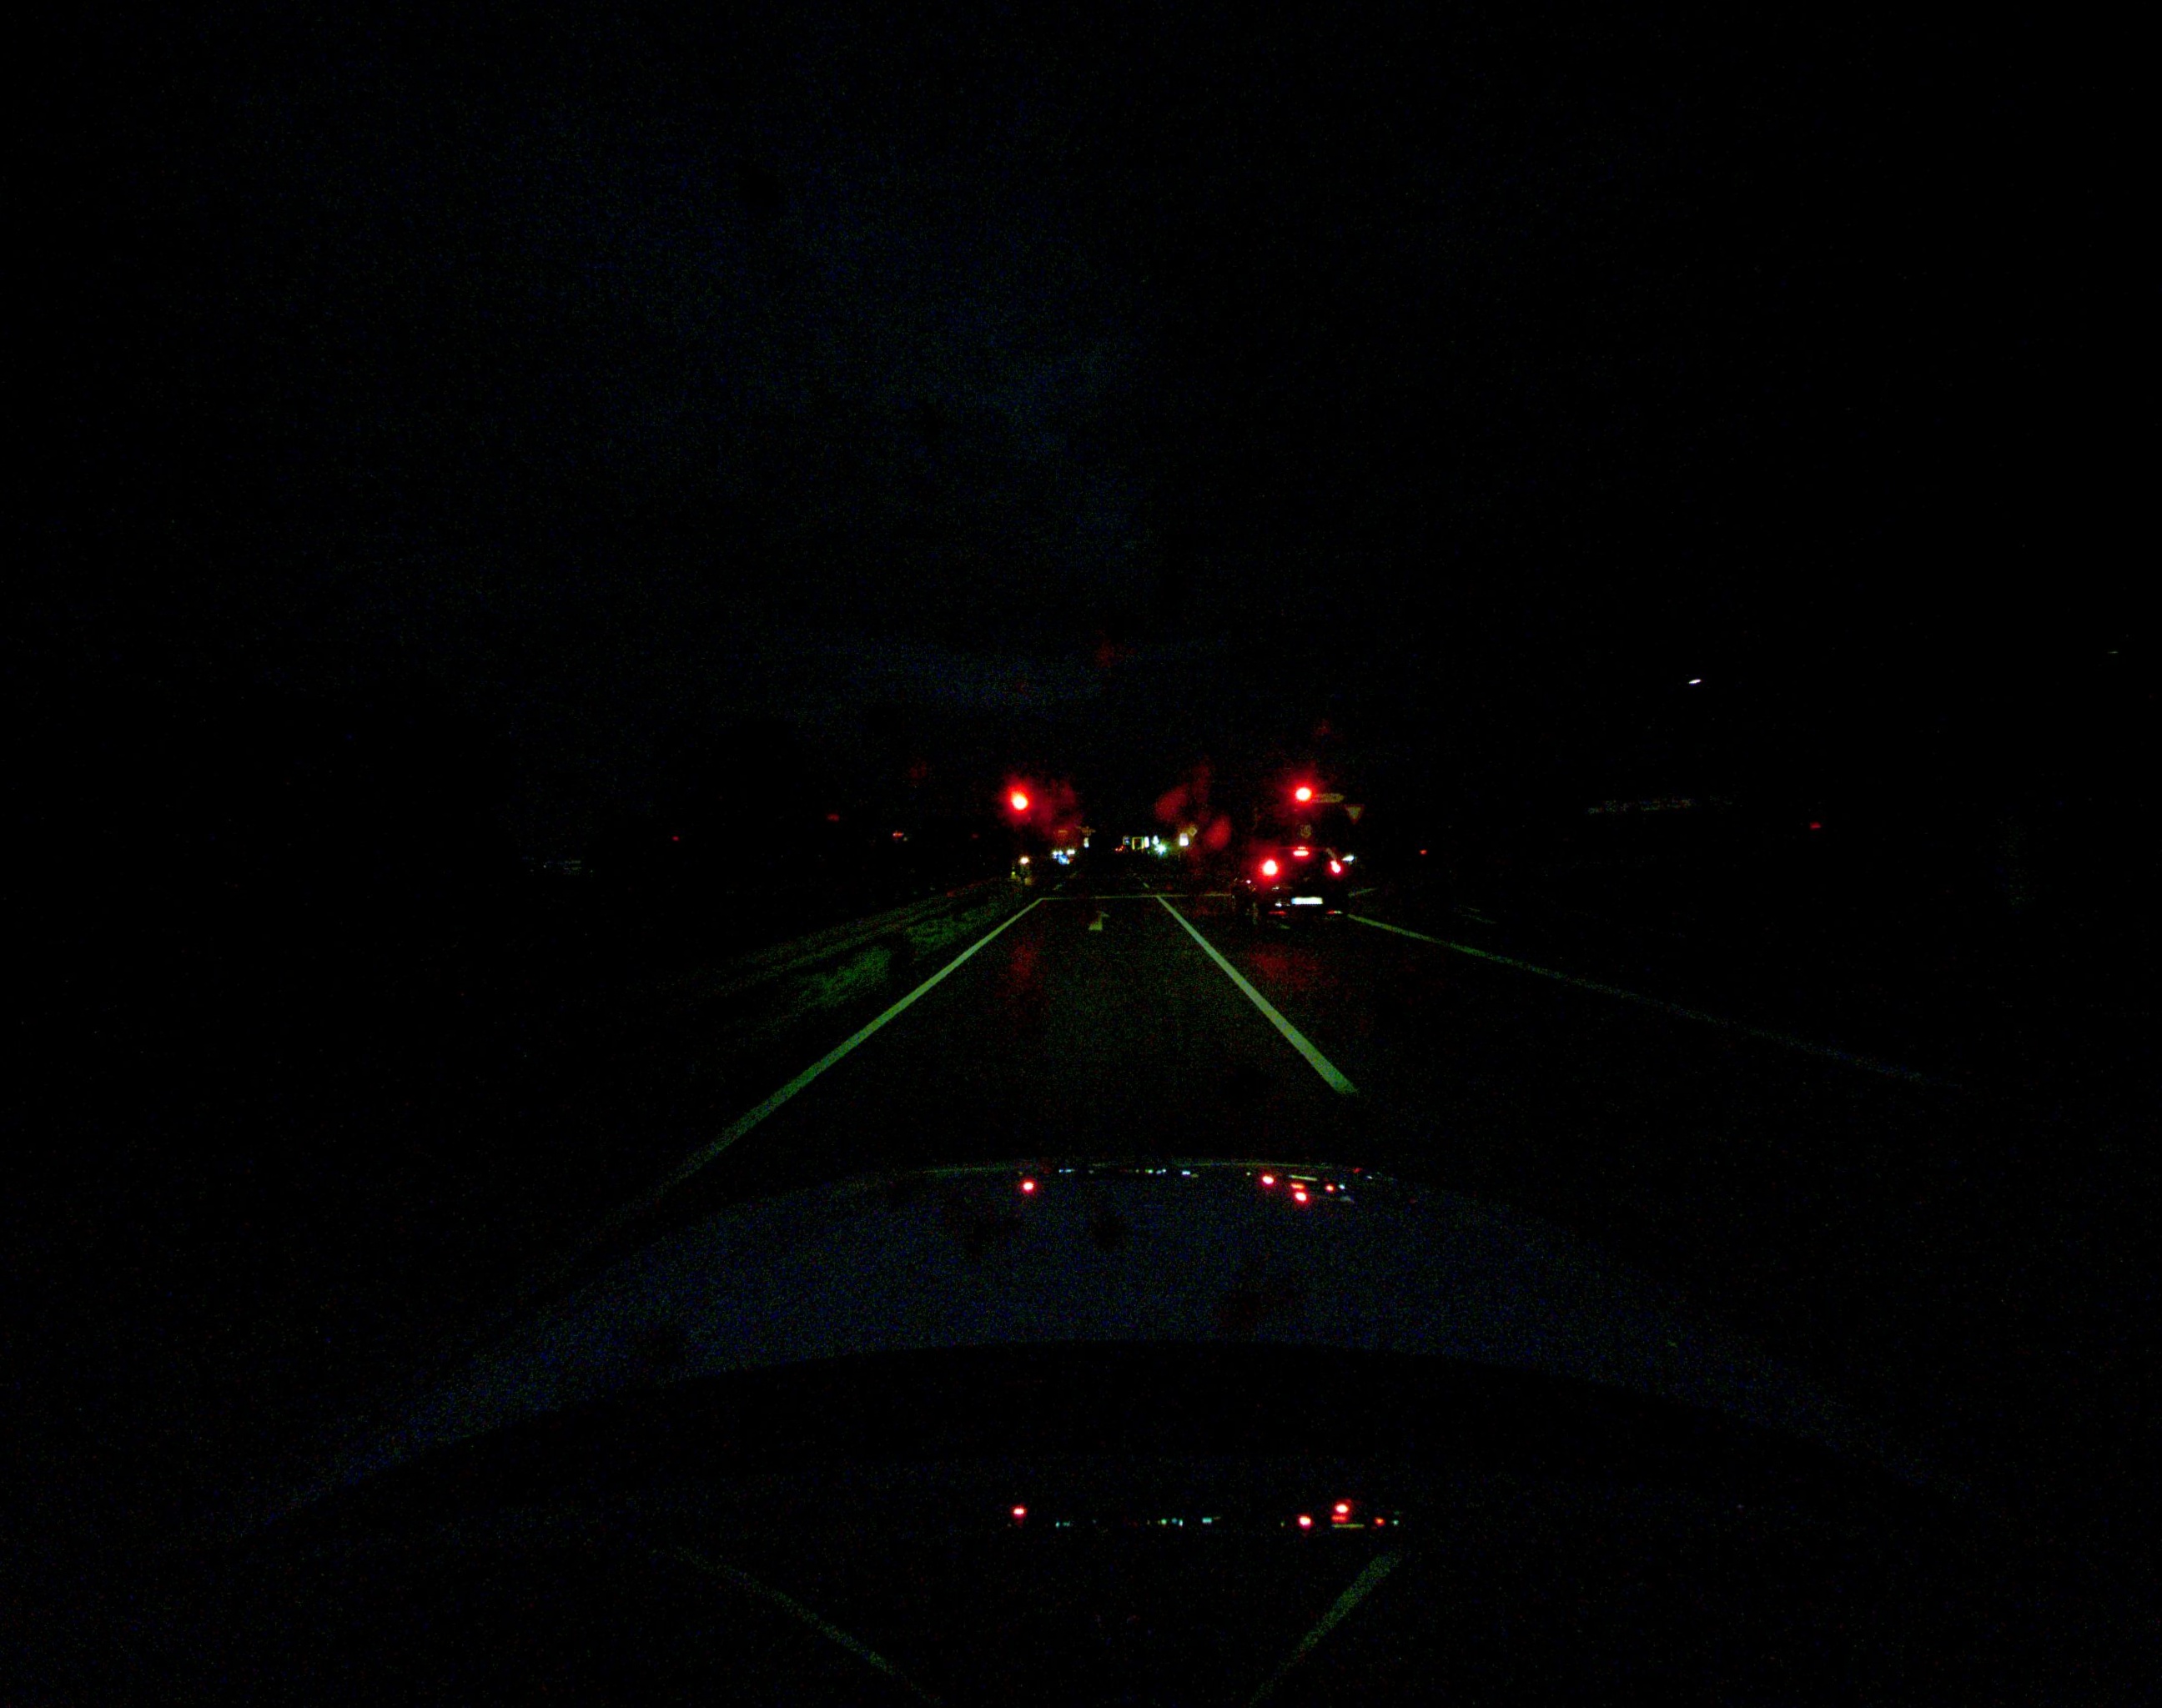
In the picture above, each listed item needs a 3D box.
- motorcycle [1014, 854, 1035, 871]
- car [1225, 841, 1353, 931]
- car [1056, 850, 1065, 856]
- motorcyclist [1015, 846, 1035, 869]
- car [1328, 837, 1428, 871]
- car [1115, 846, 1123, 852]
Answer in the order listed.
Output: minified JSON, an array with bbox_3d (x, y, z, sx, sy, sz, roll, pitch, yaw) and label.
[{"bbox_3d":[-3.941,0.606,57.004,0.980,1.098,2.496,-3,1,-14],"label":"motorcycle"},{"bbox_3d":[3.955,0.543,16.108,1.663,1.520,4.109,-1,0,3],"label":"car"},{"bbox_3d":[-5.163,-0.271,205.961,1.986,1.519,4.299,-2,0,1],"label":"car"},{"bbox_3d":[-3.914,0.232,56.801,1.139,1.584,0.968,-3,0,-15],"label":"motorcyclist"},{"bbox_3d":[15.742,0.005,43.393,4.583,1.520,2.001,-3,0,2],"label":"car"},{"bbox_3d":[11.706,-1.600,250.553,2.266,1.632,4.001,-2,0,1],"label":"car"}]
